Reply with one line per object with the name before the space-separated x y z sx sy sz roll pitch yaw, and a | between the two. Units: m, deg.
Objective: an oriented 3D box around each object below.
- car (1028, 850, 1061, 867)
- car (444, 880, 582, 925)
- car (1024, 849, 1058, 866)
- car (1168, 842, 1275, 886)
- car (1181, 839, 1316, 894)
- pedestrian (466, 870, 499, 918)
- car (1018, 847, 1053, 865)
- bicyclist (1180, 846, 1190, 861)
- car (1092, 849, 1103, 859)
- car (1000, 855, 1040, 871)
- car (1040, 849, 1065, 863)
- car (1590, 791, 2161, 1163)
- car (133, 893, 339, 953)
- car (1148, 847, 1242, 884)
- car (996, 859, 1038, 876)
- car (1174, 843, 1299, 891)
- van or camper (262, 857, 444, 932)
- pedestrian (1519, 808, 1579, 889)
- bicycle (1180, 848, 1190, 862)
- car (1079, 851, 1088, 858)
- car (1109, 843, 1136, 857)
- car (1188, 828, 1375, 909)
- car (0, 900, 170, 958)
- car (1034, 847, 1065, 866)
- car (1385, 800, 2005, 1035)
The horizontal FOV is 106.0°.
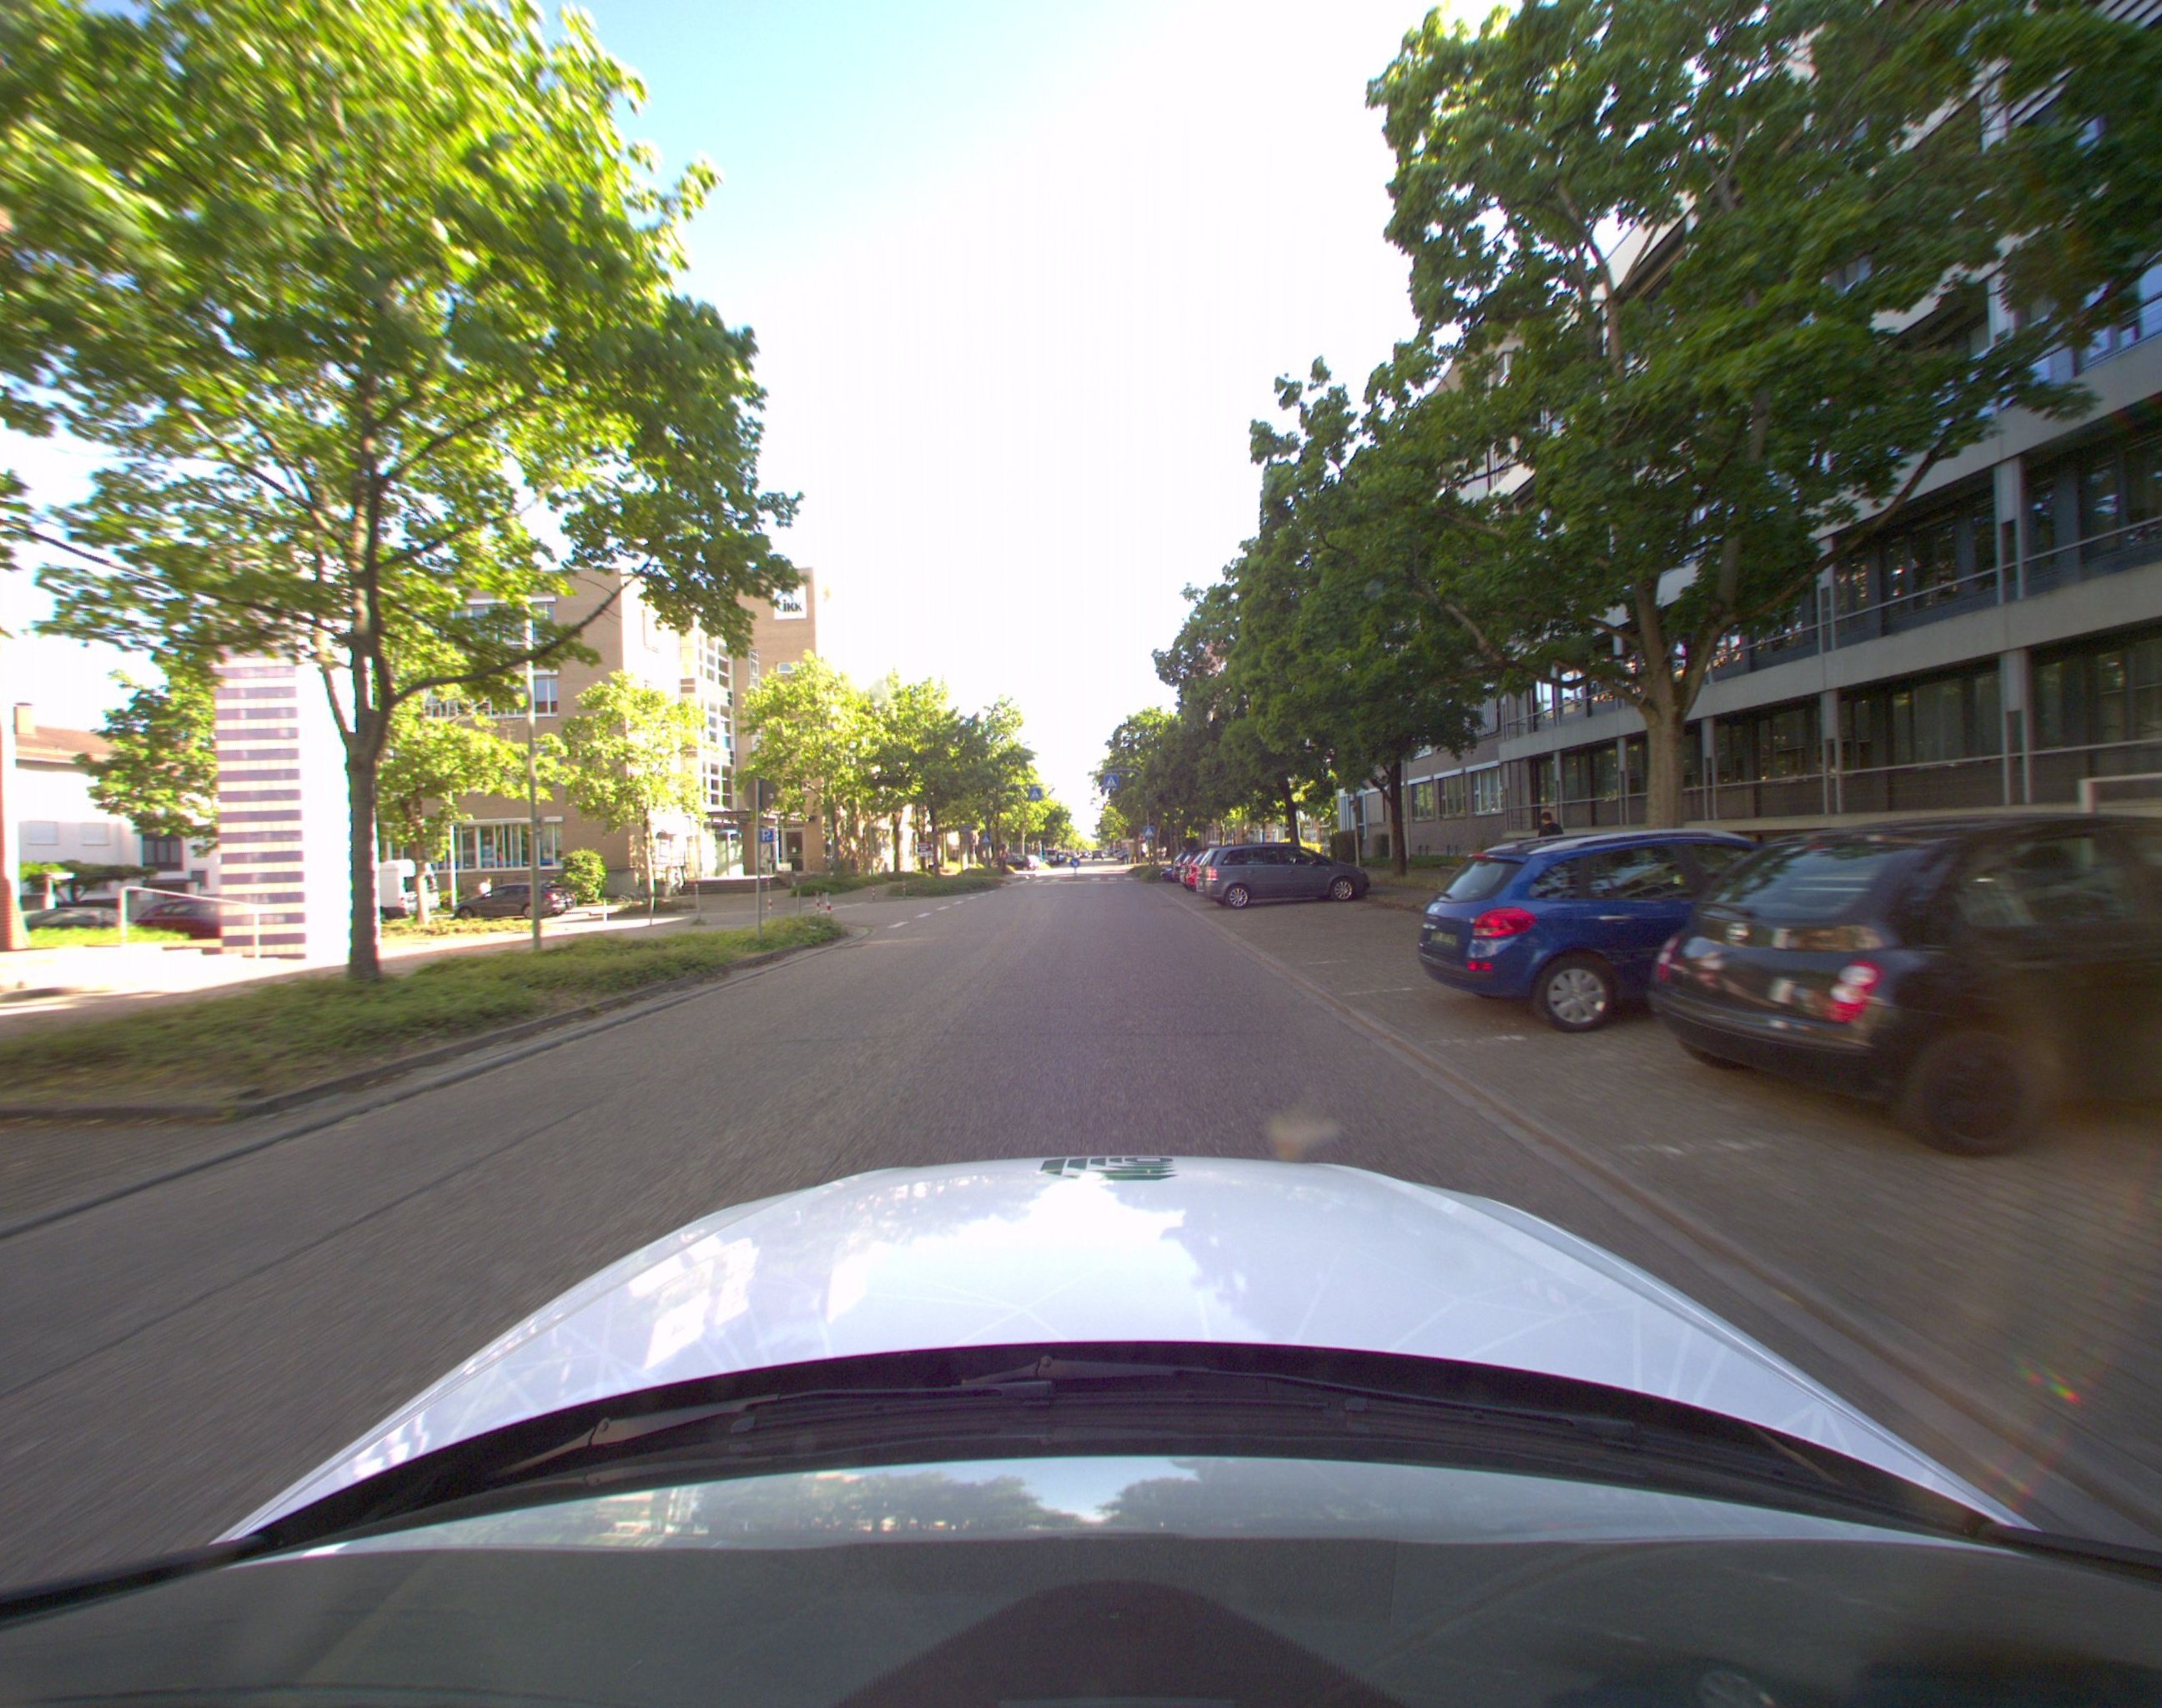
car | -4.775 0.576 106.320 3.968 2.013 2.003 -3 0 5
car | -23.315 1.979 33.531 4.177 1.477 2.001 -3 1 1
car | -5.061 0.441 103.339 3.968 2.013 2.003 -3 0 5
car | 5.941 0.409 34.757 4.180 1.536 1.811 -4 0 -2
car | 5.686 0.420 28.016 4.180 1.536 1.811 -4 0 -2
pedestrian | -26.164 1.739 35.598 0.782 2.013 0.811 -3 0 -7
car | -5.571 0.245 100.800 3.968 2.013 2.003 -3 0 5
bicyclist | 9.054 -0.053 70.854 0.693 1.214 0.948 -3 0 12
car | 2.905 -0.014 143.598 1.986 1.640 4.001 -1 0 1
car | -6.027 0.902 80.472 3.842 1.473 1.809 -1 0 -5
car | -4.545 0.315 130.659 3.975 2.013 1.999 -3 0 -1
car | 5.221 0.476 4.485 3.628 1.514 1.813 -4 0 1
car | -25.650 2.061 24.836 4.177 1.477 2.000 -4 -3 1
car | 5.466 0.532 39.421 4.180 1.473 1.811 -4 0 -2
car | -5.993 1.230 75.943 3.842 1.473 1.809 -1 0 -5
car | 5.696 0.470 30.159 4.180 1.448 1.811 -4 0 -2
van or camper | -29.976 1.641 33.684 5.351 2.674 2.181 -3 1 0
pedestrian | 10.545 -0.120 18.375 0.605 1.745 1.191 -3 0 1
bicycle | 9.062 0.068 70.858 0.679 1.214 1.983 -3 0 12
car | 0.627 0.127 183.216 1.807 1.525 4.002 -3 0 2
car | 6.322 -0.618 125.723 3.975 2.013 1.999 -3 0 -1
car | 5.142 0.362 21.281 4.340 1.704 1.811 -4 0 -2
car | -30.844 2.280 24.691 4.177 1.477 2.000 -4 -3 1
car | -4.330 0.346 111.394 3.967 2.541 1.865 -1 0 5
car | 4.981 0.488 7.095 3.934 1.514 1.814 -4 0 2
